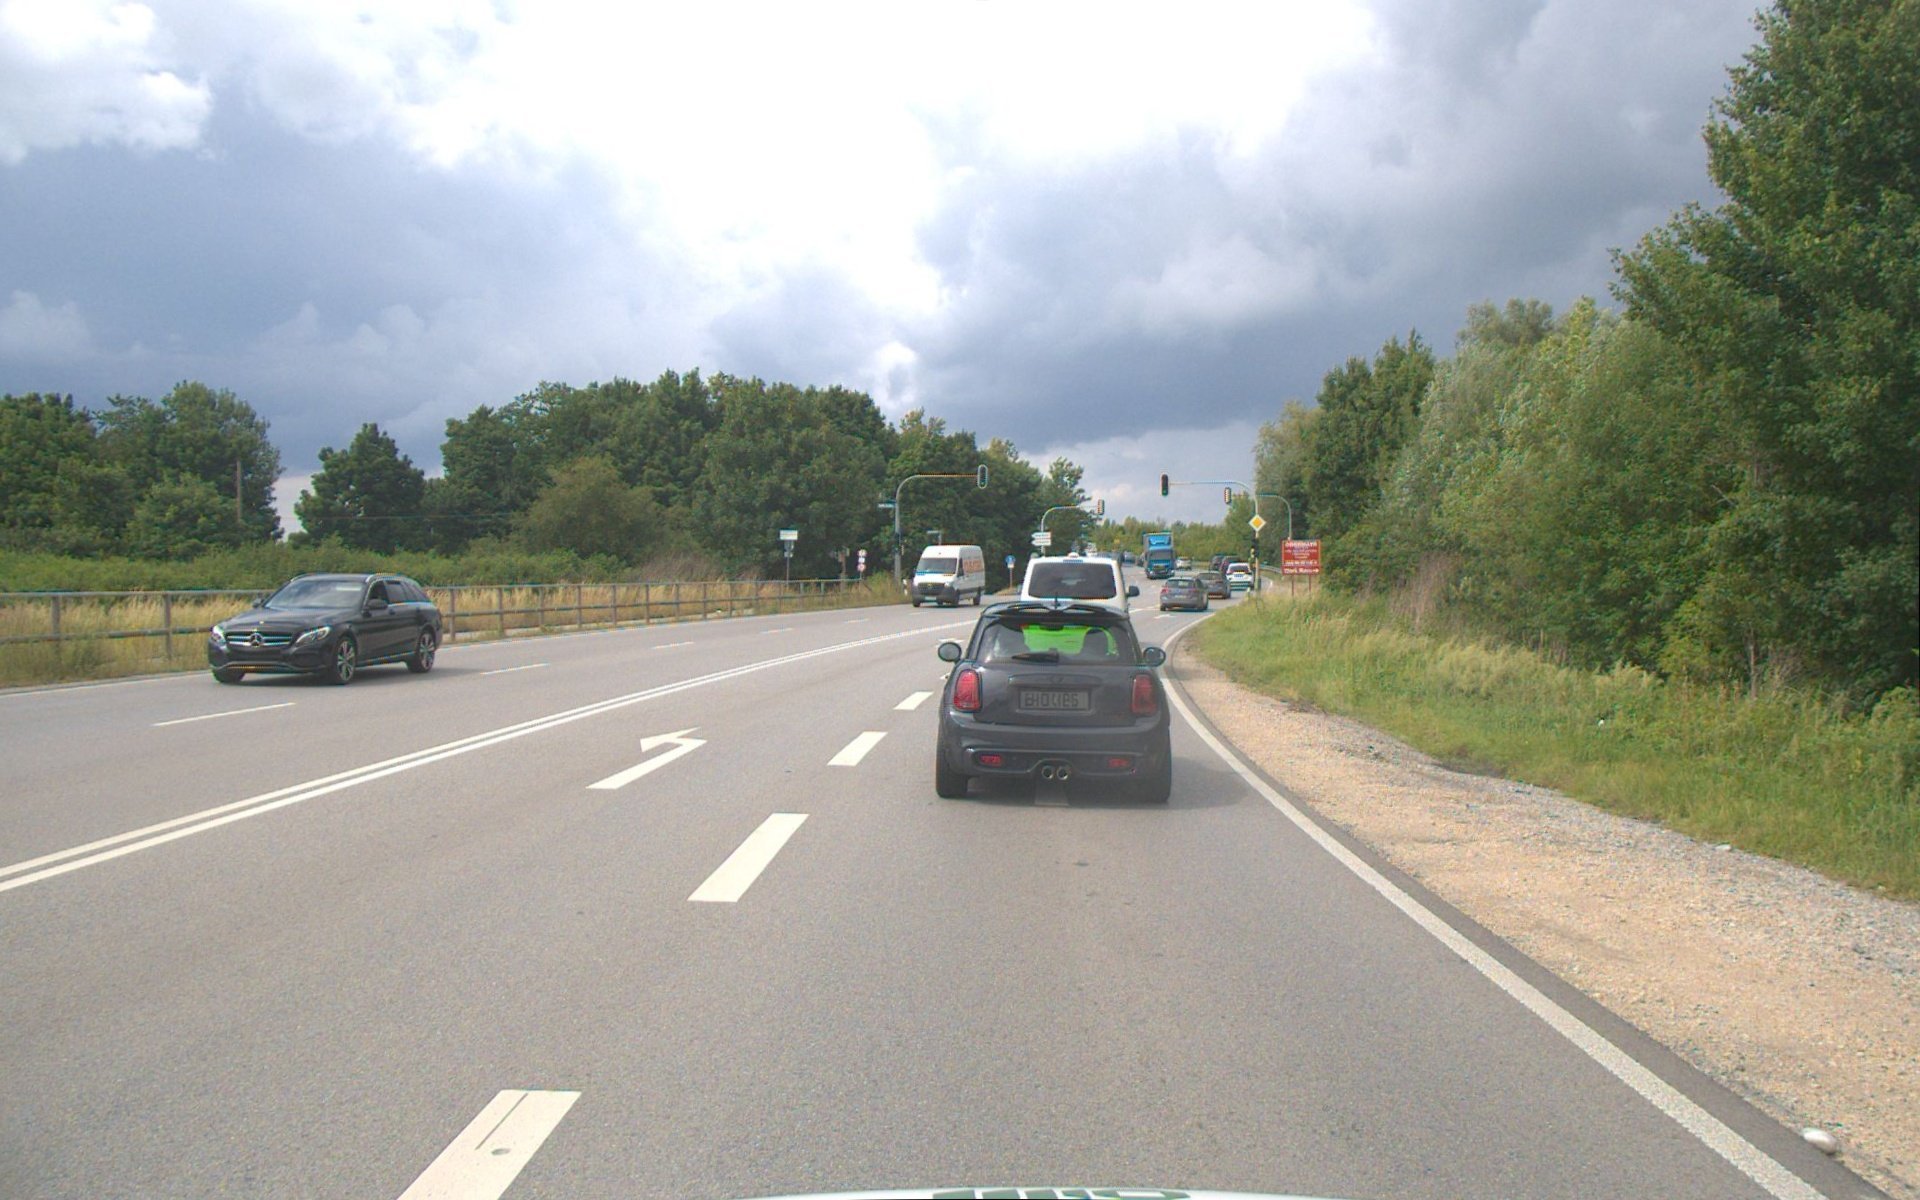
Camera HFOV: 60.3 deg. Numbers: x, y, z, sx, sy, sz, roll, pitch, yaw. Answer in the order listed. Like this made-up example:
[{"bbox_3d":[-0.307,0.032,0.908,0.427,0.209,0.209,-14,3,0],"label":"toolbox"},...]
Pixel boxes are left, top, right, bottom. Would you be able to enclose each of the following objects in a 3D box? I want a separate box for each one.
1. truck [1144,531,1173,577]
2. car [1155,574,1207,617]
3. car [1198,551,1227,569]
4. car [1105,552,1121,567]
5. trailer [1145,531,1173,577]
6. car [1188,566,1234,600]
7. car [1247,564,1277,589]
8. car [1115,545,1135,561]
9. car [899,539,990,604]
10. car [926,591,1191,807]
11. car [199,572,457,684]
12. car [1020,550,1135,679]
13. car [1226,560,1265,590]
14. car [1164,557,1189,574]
[{"bbox_3d":[17.884,-4.129,149.085,2.486,4.167,4.004,0,1,7],"label":"truck"},{"bbox_3d":[9.446,-0.167,70.409,1.951,1.713,4.003,2,-1,10],"label":"car"},{"bbox_3d":[24.337,-3.816,159.501,1.954,1.725,4.483,0,1,-3],"label":"car"},{"bbox_3d":[23.115,-6.135,250.062,1.953,2.049,3.998,1,-1,-2],"label":"car"},{"bbox_3d":[18.340,-4.198,152.589,2.473,4.172,6.740,0,1,7],"label":"trailer"},{"bbox_3d":[13.441,-0.887,88.431,1.951,1.713,3.980,1,-1,16],"label":"car"},{"bbox_3d":[22.724,-1.722,124.398,1.951,1.713,4.003,2,-1,13],"label":"car"},{"bbox_3d":[23.046,-6.579,230.687,2.137,2.049,3.997,1,-1,-4],"label":"car"},{"bbox_3d":[-0.608,-1.249,73.301,2.382,2.721,6.894,1,1,14],"label":"car"},{"bbox_3d":[0.727,0.672,13.357,1.807,1.453,3.842,1,0,1],"label":"car"},{"bbox_3d":[-8.994,0.347,23.972,1.770,1.467,4.356,1,1,5],"label":"car"},{"bbox_3d":[2.041,0.180,28.316,1.806,2.021,3.844,1,1,5],"label":"car"},{"bbox_3d":[18.118,-1.569,104.889,1.951,1.713,4.002,1,-1,16],"label":"car"},{"bbox_3d":[23.518,-3.721,179.884,1.954,1.818,4.483,0,1,-3],"label":"car"}]
